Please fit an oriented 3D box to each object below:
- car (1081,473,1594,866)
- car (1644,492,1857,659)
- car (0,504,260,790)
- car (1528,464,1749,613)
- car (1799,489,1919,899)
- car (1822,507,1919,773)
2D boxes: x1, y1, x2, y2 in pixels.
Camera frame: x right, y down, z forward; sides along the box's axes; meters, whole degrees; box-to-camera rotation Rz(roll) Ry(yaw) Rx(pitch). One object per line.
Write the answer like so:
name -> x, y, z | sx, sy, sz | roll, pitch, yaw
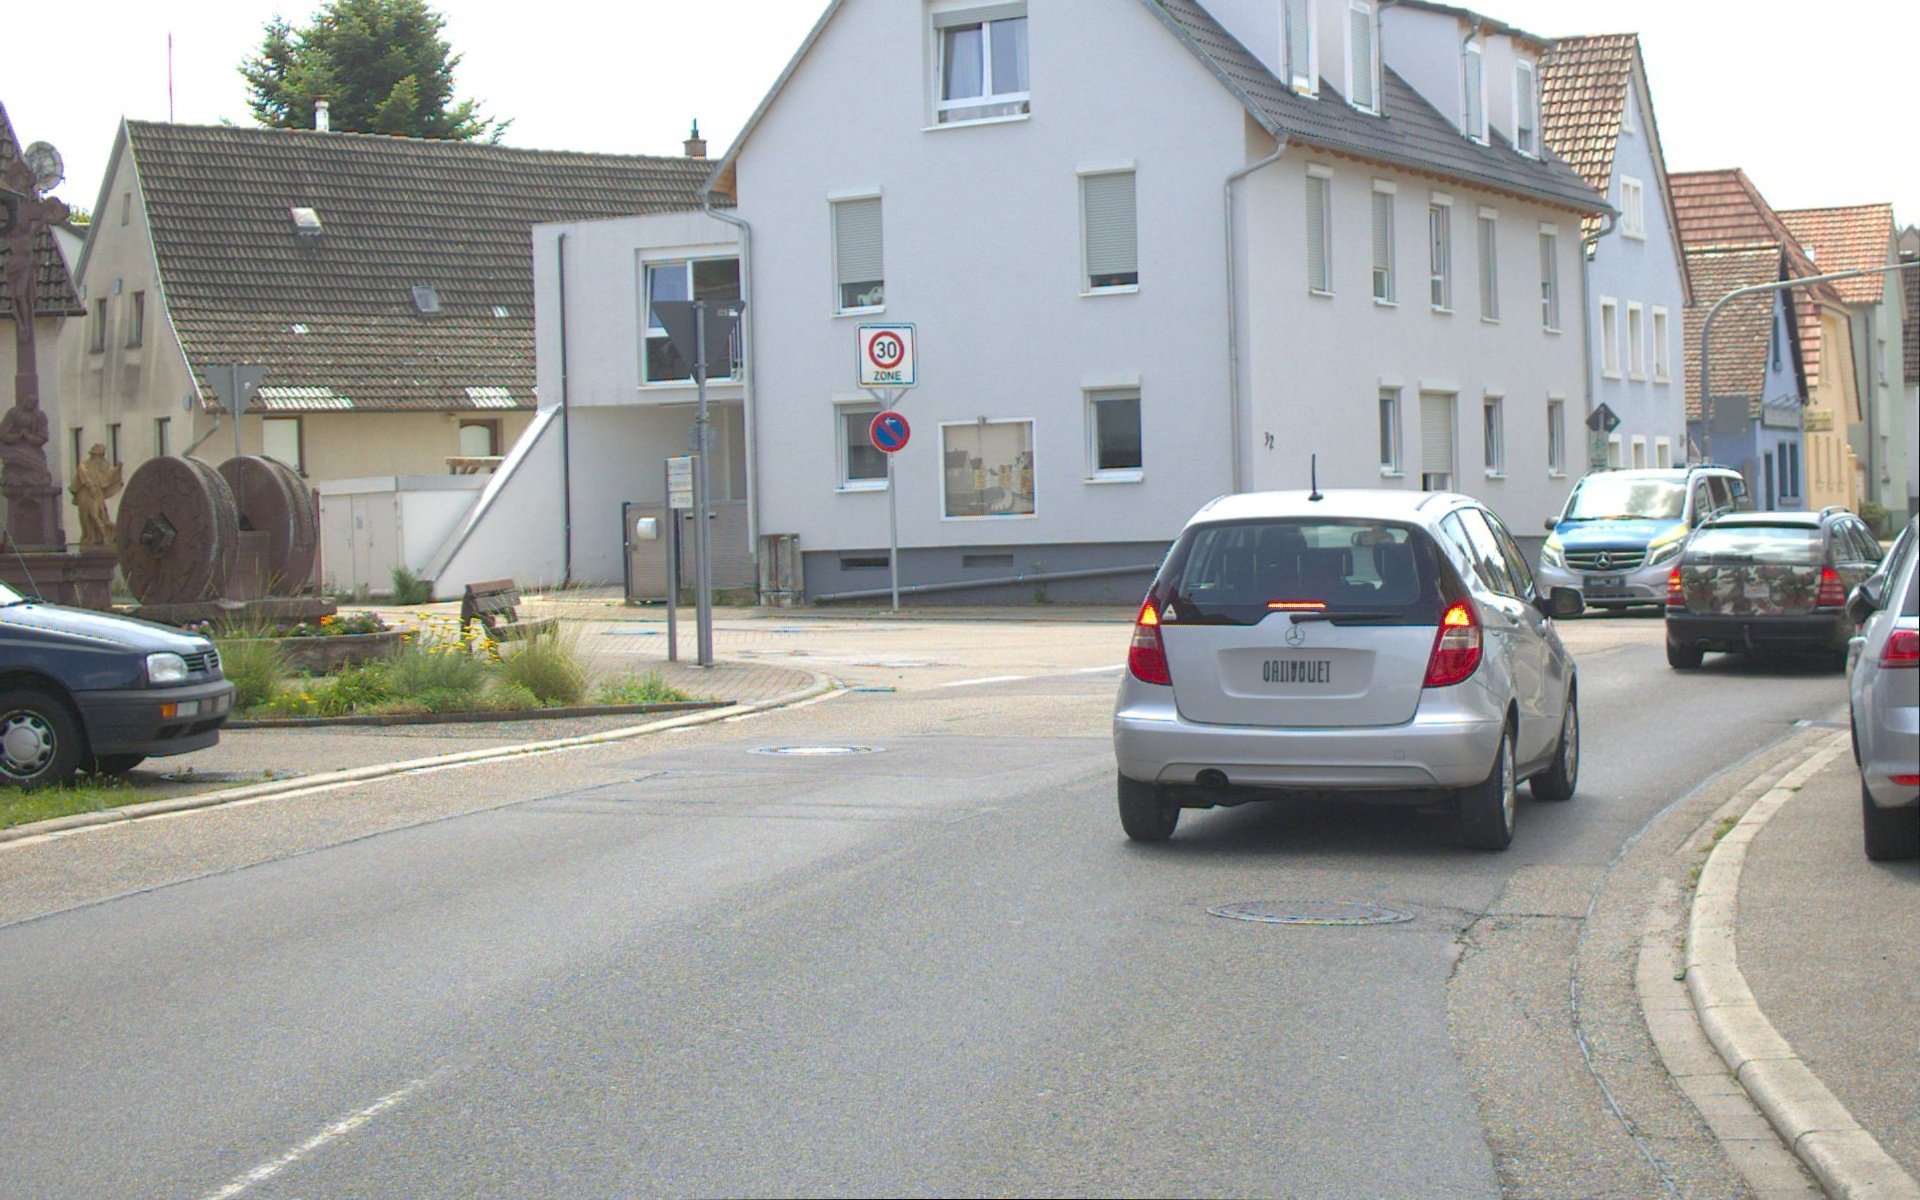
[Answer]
car -> 1.926, 0.234, 16.504 | 1.812, 1.638, 3.726 | 1, 2, 16
car -> 7.239, -0.212, 31.260 | 1.751, 1.411, 3.997 | 0, 0, 15
car -> -5.915, 0.224, 18.429 | 3.967, 1.459, 1.721 | 0, 1, 0
car -> 8.787, -0.749, 44.180 | 1.995, 1.793, 4.930 | 0, 0, 21
car -> 4.655, 0.261, 14.880 | 1.886, 1.525, 4.333 | -3, 1, 14
car -> 6.074, 0.173, 20.340 | 1.771, 1.395, 4.422 | -3, -1, 14
